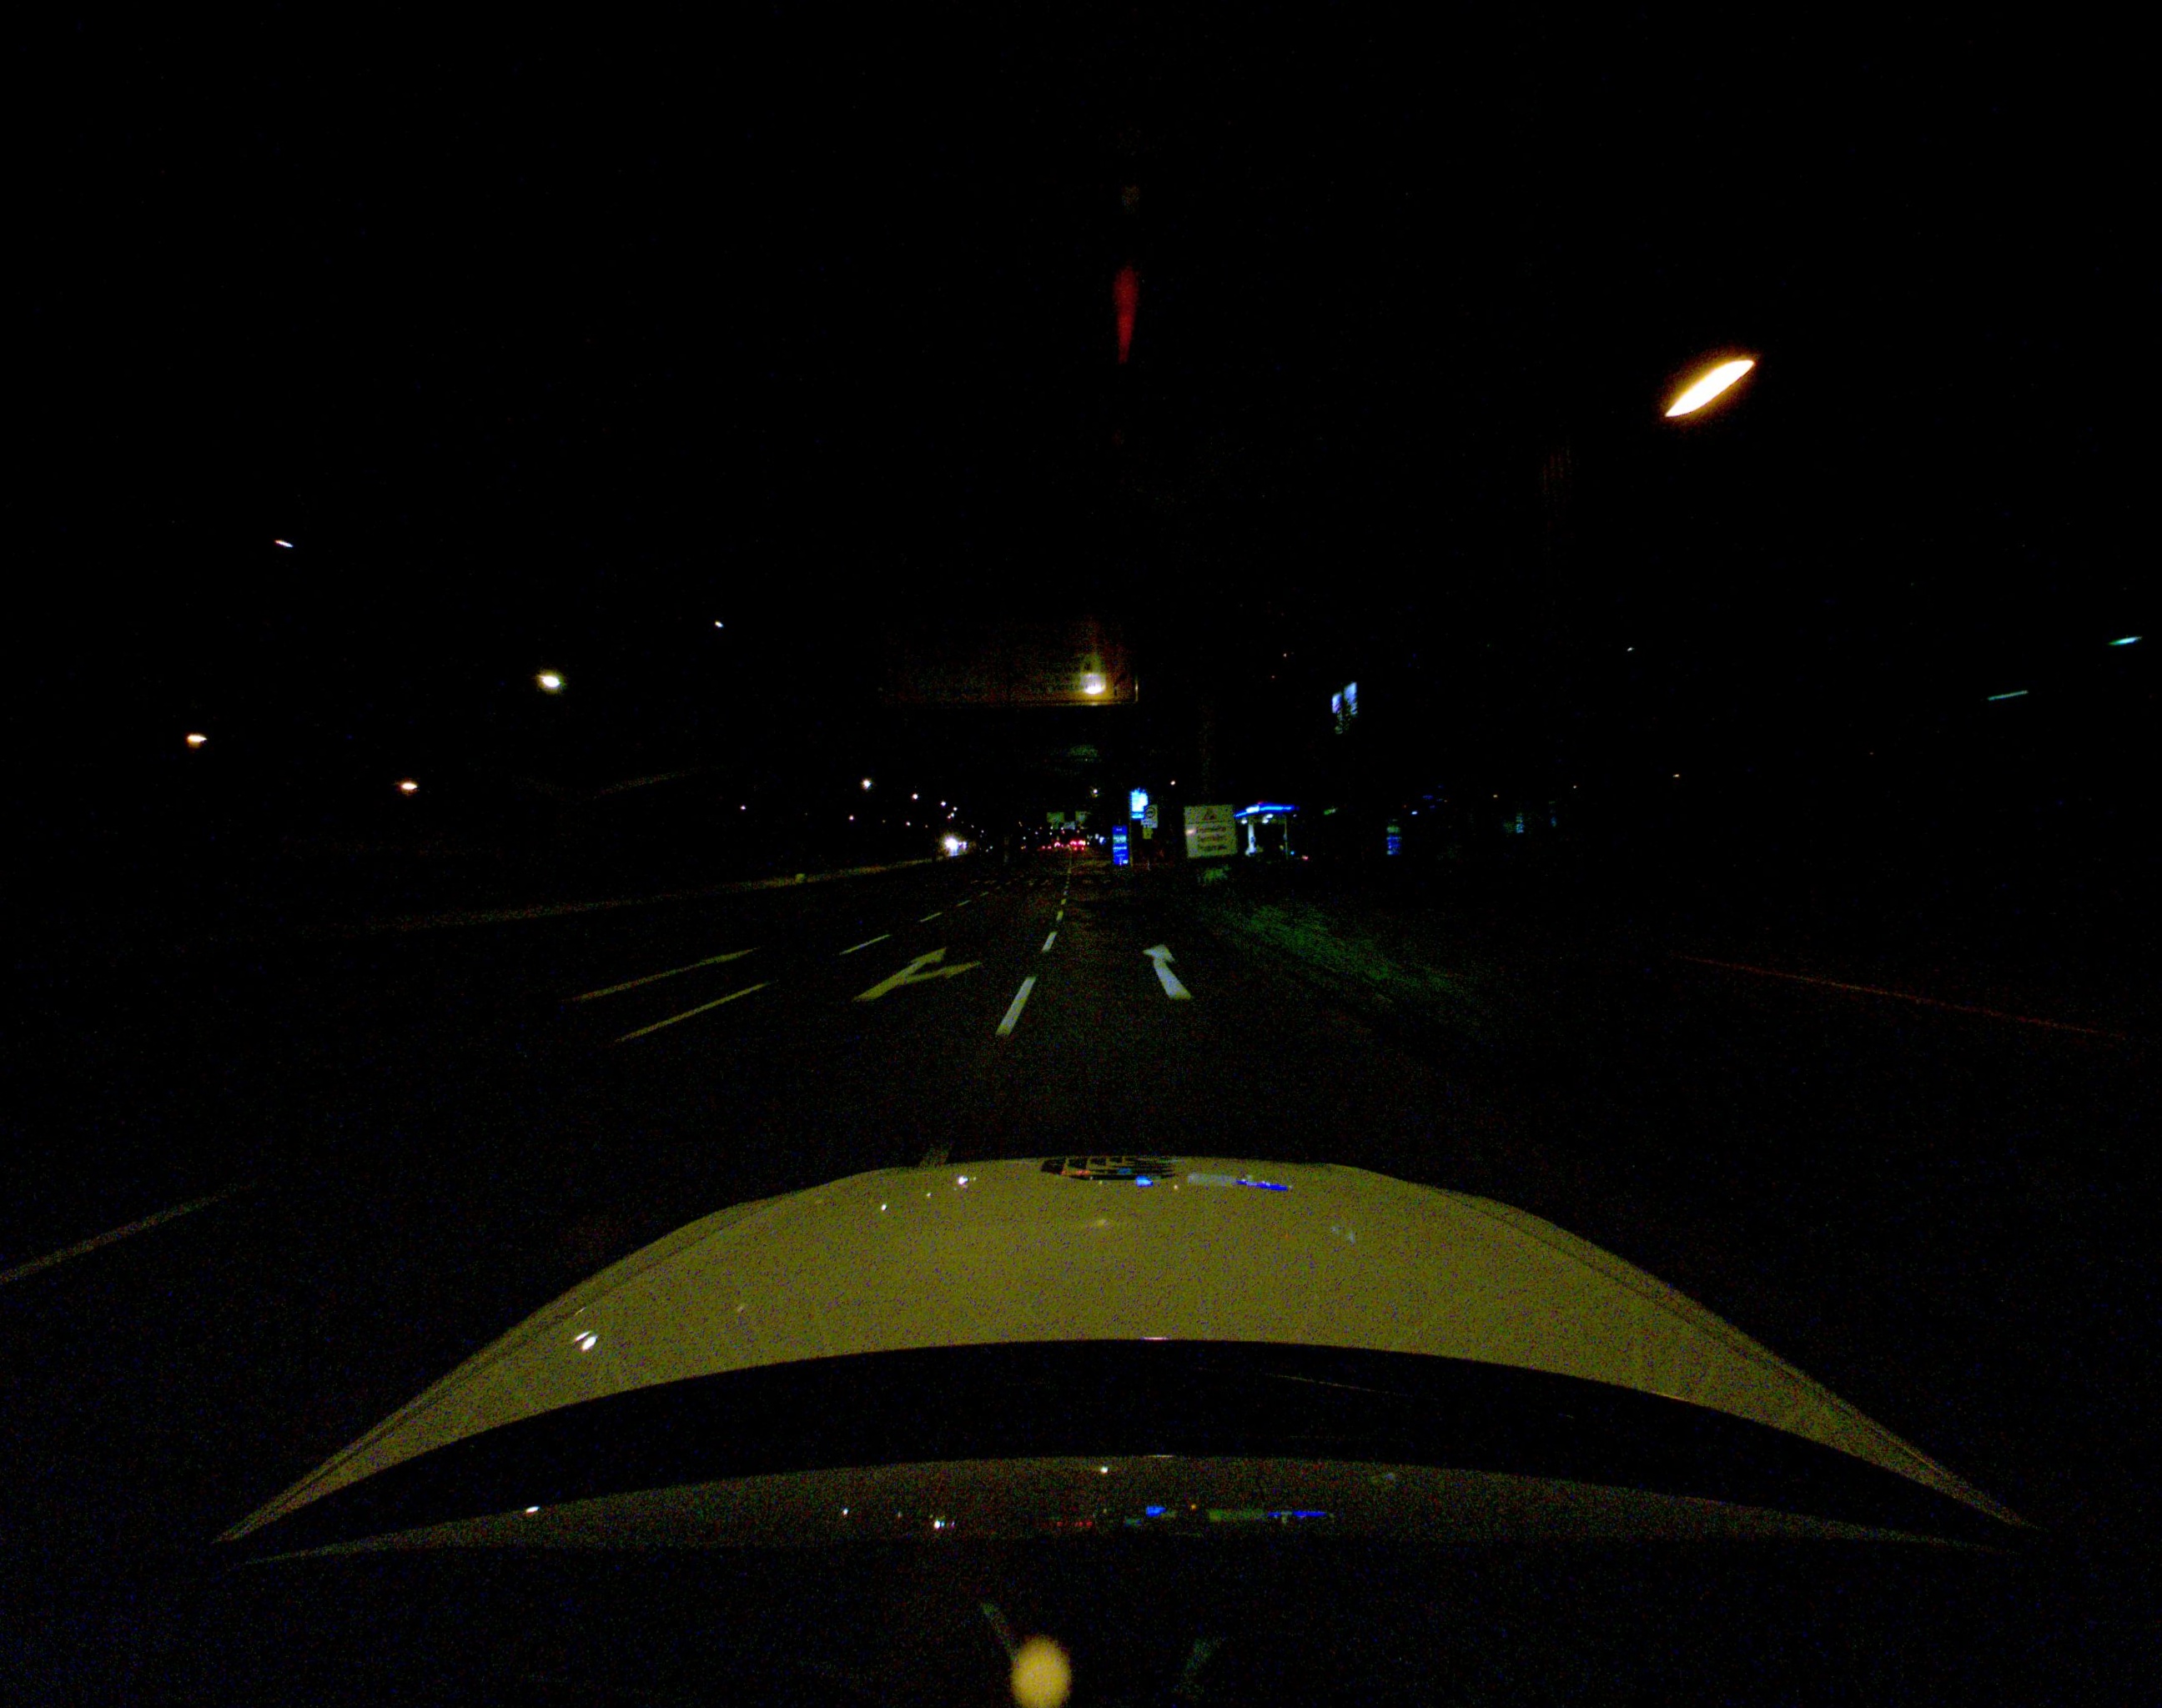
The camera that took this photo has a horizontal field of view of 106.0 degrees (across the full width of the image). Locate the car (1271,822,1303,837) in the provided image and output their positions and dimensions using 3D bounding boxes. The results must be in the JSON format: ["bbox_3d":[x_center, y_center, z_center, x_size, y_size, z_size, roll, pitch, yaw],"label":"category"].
[{"bbox_3d":[27.849,-3.340,110.375,3.802,1.895,1.750,-2,-1,-4],"label":"car"}]

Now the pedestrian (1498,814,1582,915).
[{"bbox_3d":[8.215,0.181,14.620,0.850,1.707,0.957,-4,-1,0],"label":"pedestrian"}]

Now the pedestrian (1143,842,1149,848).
[{"bbox_3d":[13.242,-1.812,165.526,0.902,1.038,0.776,-2,0,42],"label":"pedestrian"}]

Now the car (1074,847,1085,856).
[{"bbox_3d":[-0.340,-0.542,160.521,1.961,1.711,4.001,0,-1,1],"label":"car"}]

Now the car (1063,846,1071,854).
[{"bbox_3d":[-3.249,-0.908,194.715,1.776,1.711,4.001,0,-1,2],"label":"car"}]

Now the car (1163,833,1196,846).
[{"bbox_3d":[13.280,-1.936,110.024,4.105,1.522,1.822,-3,-1,0],"label":"car"}]

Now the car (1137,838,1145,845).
[{"bbox_3d":[14.399,-2.896,194.717,1.883,1.511,3.642,0,-1,6],"label":"car"}]

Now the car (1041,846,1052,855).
[{"bbox_3d":[-7.098,-0.686,168.838,1.961,1.711,4.001,0,-1,1],"label":"car"}]

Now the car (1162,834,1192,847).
[{"bbox_3d":[13.224,-1.856,112.362,3.973,1.571,1.738,-4,-1,0],"label":"car"}]

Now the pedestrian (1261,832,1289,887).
[{"bbox_3d":[7.071,0.204,29.669,0.800,1.913,0.795,-4,0,9],"label":"pedestrian"}]
